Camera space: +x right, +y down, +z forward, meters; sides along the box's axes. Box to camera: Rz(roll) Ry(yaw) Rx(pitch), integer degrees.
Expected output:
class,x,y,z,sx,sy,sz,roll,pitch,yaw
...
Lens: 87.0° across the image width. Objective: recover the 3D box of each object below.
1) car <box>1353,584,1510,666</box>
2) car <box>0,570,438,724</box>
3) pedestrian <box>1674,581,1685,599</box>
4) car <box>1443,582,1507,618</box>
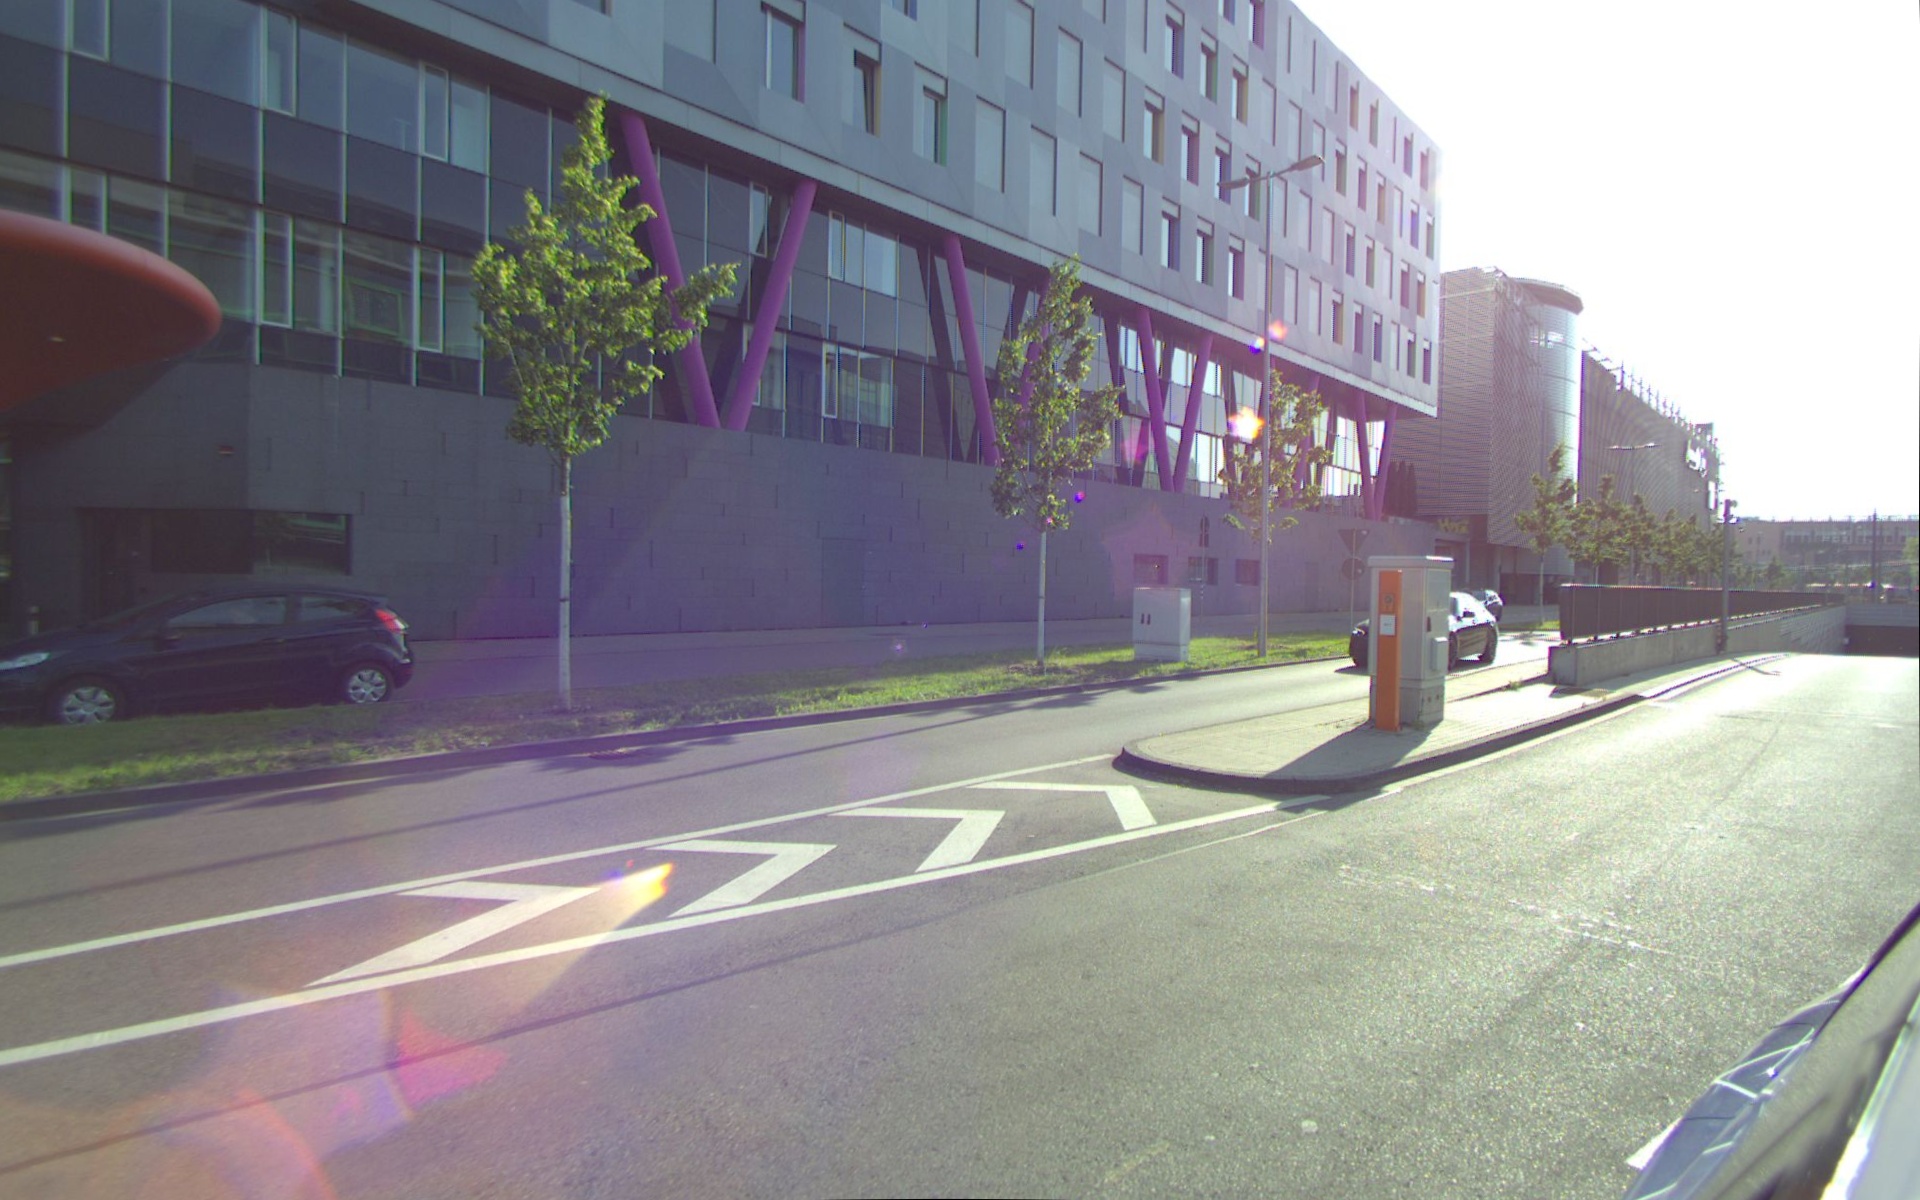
class,x,y,z,sx,sy,sz,roll,pitch,yaw
car,9.609,0.437,20.423,1.836,1.468,4.491,0,0,39
car,-8.278,0.408,11.200,1.691,1.407,4.135,2,1,42
pedestrian,71.154,-0.988,100.059,0.723,1.808,0.760,2,1,43
car,24.113,-0.040,47.310,1.886,1.444,4.412,1,3,38
